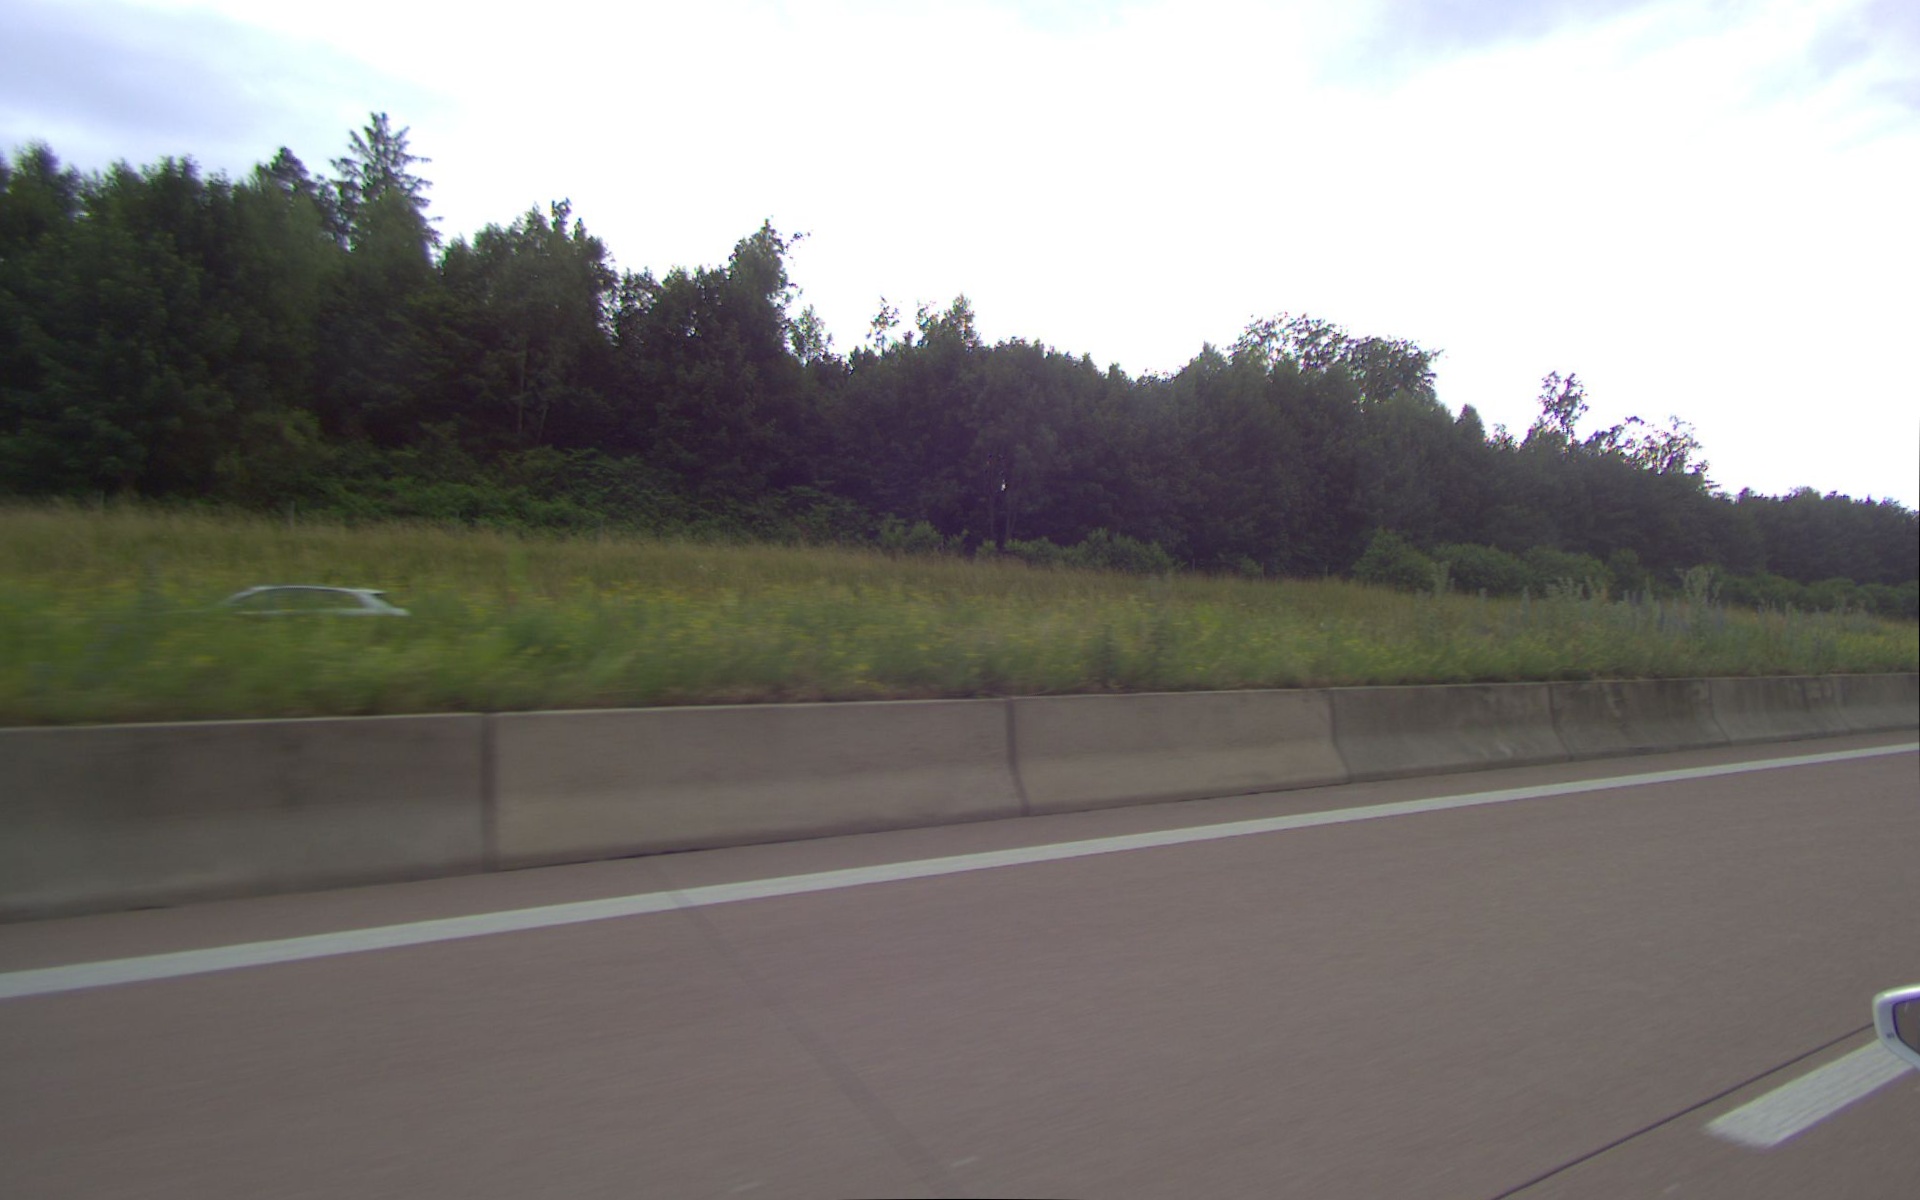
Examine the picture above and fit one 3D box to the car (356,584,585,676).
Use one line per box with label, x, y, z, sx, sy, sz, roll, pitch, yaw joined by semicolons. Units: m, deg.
car;-9.155;0.575;18.944;3.665;1.525;1.727;3;-1;-28
